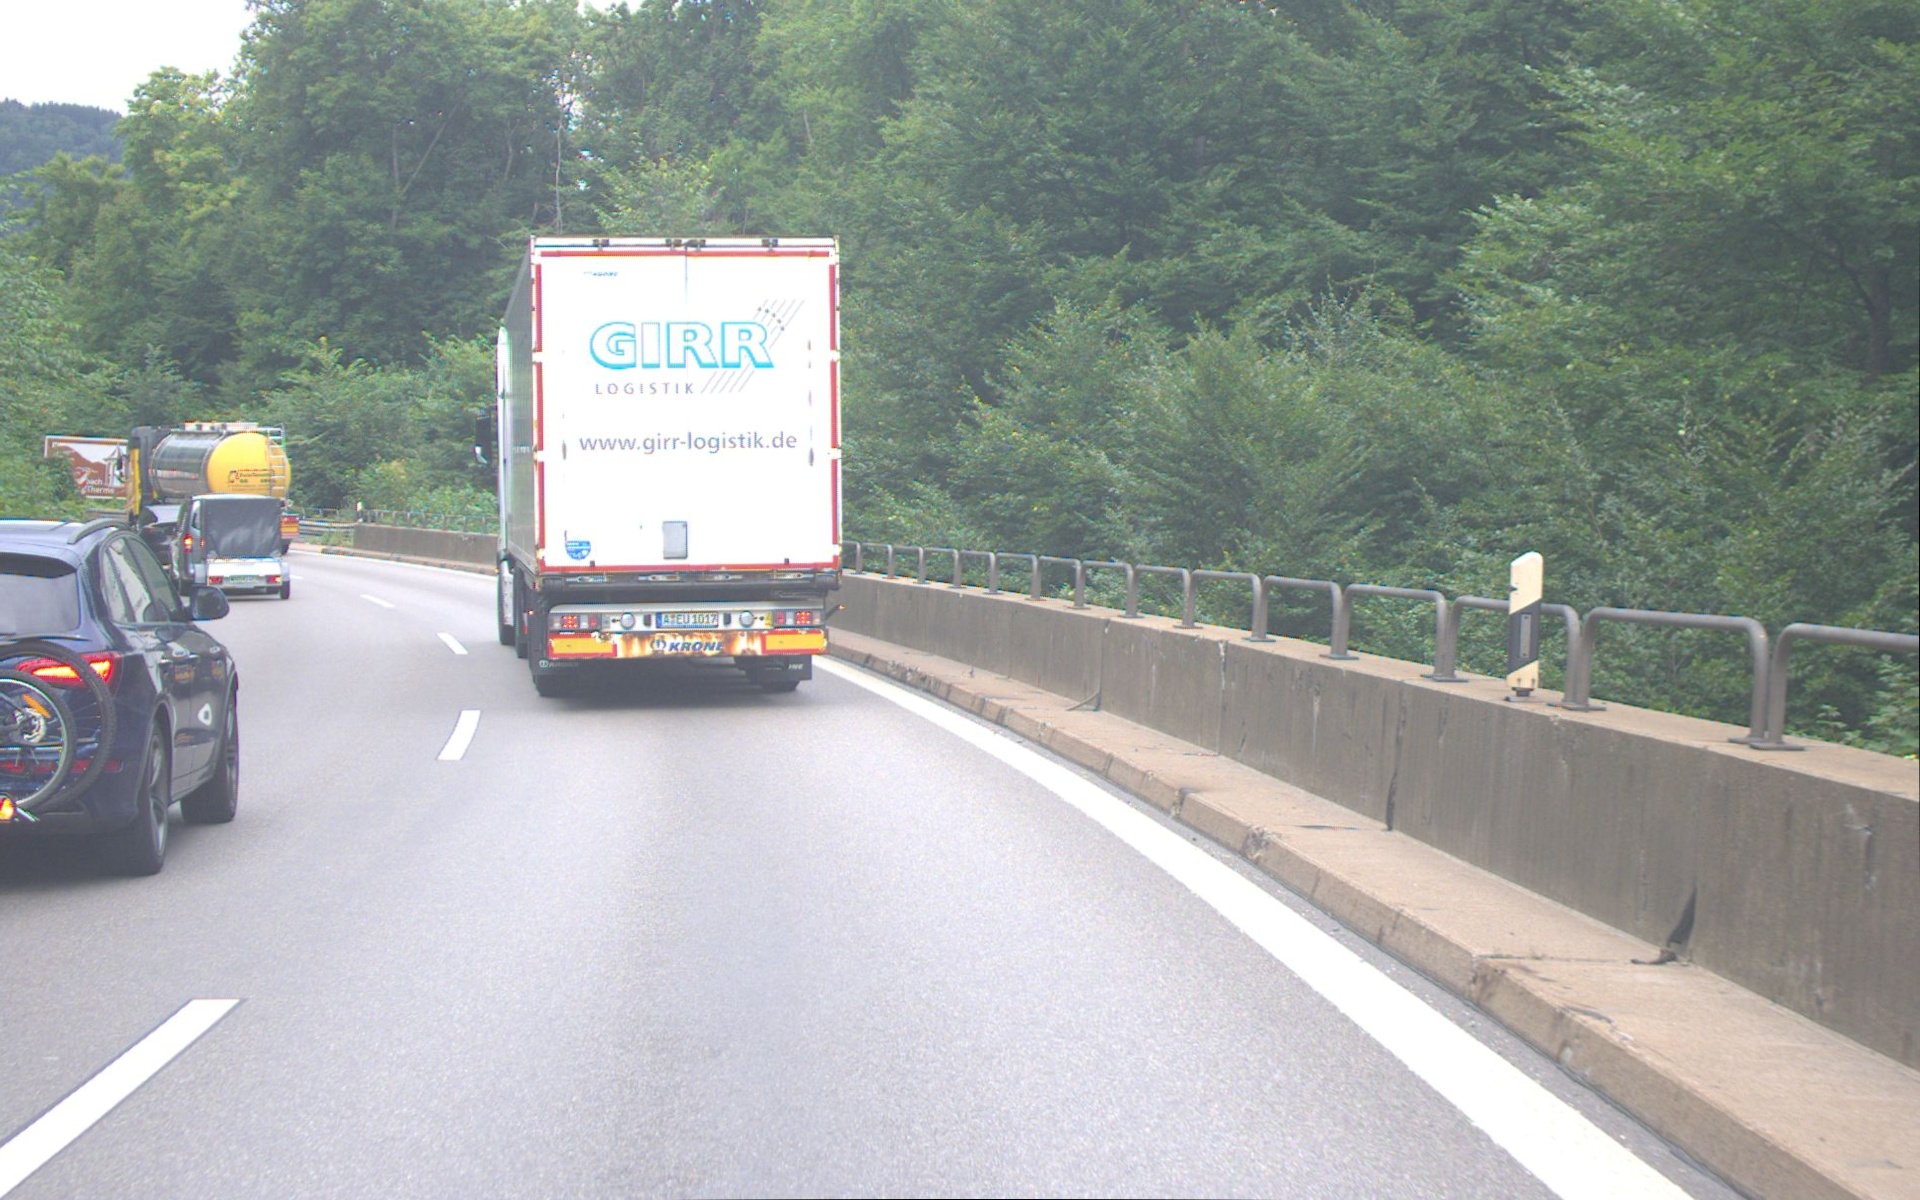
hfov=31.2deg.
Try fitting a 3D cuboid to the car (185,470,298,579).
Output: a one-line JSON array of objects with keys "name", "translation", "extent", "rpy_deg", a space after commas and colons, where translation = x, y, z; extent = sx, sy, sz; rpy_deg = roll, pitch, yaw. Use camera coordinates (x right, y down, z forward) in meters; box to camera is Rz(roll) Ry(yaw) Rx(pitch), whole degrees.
[{"name": "car", "translation": [-14.081, -1.448, 67.581], "extent": [1.993, 2.007, 5.542], "rpy_deg": [1, 0, -10]}]

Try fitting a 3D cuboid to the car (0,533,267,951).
[{"name": "car", "translation": [-4.576, 0.481, 15.926], "extent": [1.971, 1.587, 5.587], "rpy_deg": [4, 0, -5]}]

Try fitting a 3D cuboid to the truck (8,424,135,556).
[{"name": "truck", "translation": [-37.341, -4.520, 144.189], "extent": [3.827, 5.306, 11.062], "rpy_deg": [0, 1, -21]}]

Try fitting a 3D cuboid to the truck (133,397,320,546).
[{"name": "truck", "translation": [-21.458, -3.587, 99.841], "extent": [3.056, 3.973, 13.702], "rpy_deg": [0, 1, -22]}]

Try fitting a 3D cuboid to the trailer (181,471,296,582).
[{"name": "trailer", "translation": [-13.246, -1.333, 63.205], "extent": [1.970, 1.933, 3.431], "rpy_deg": [1, 0, -11]}]

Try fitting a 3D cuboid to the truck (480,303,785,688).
[{"name": "truck", "translation": [-4.010, -1.287, 40.481], "extent": [3.057, 3.972, 7.190], "rpy_deg": [3, 2, -8]}]

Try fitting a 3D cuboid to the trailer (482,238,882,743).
[{"name": "trailer", "translation": [-3.107, -1.185, 34.171], "extent": [3.057, 3.972, 12.141], "rpy_deg": [3, 2, -8]}]

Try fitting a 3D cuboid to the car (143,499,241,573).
[{"name": "car", "translation": [-18.299, -1.513, 81.784], "extent": [1.993, 1.711, 4.001], "rpy_deg": [0, 1, -17]}]
